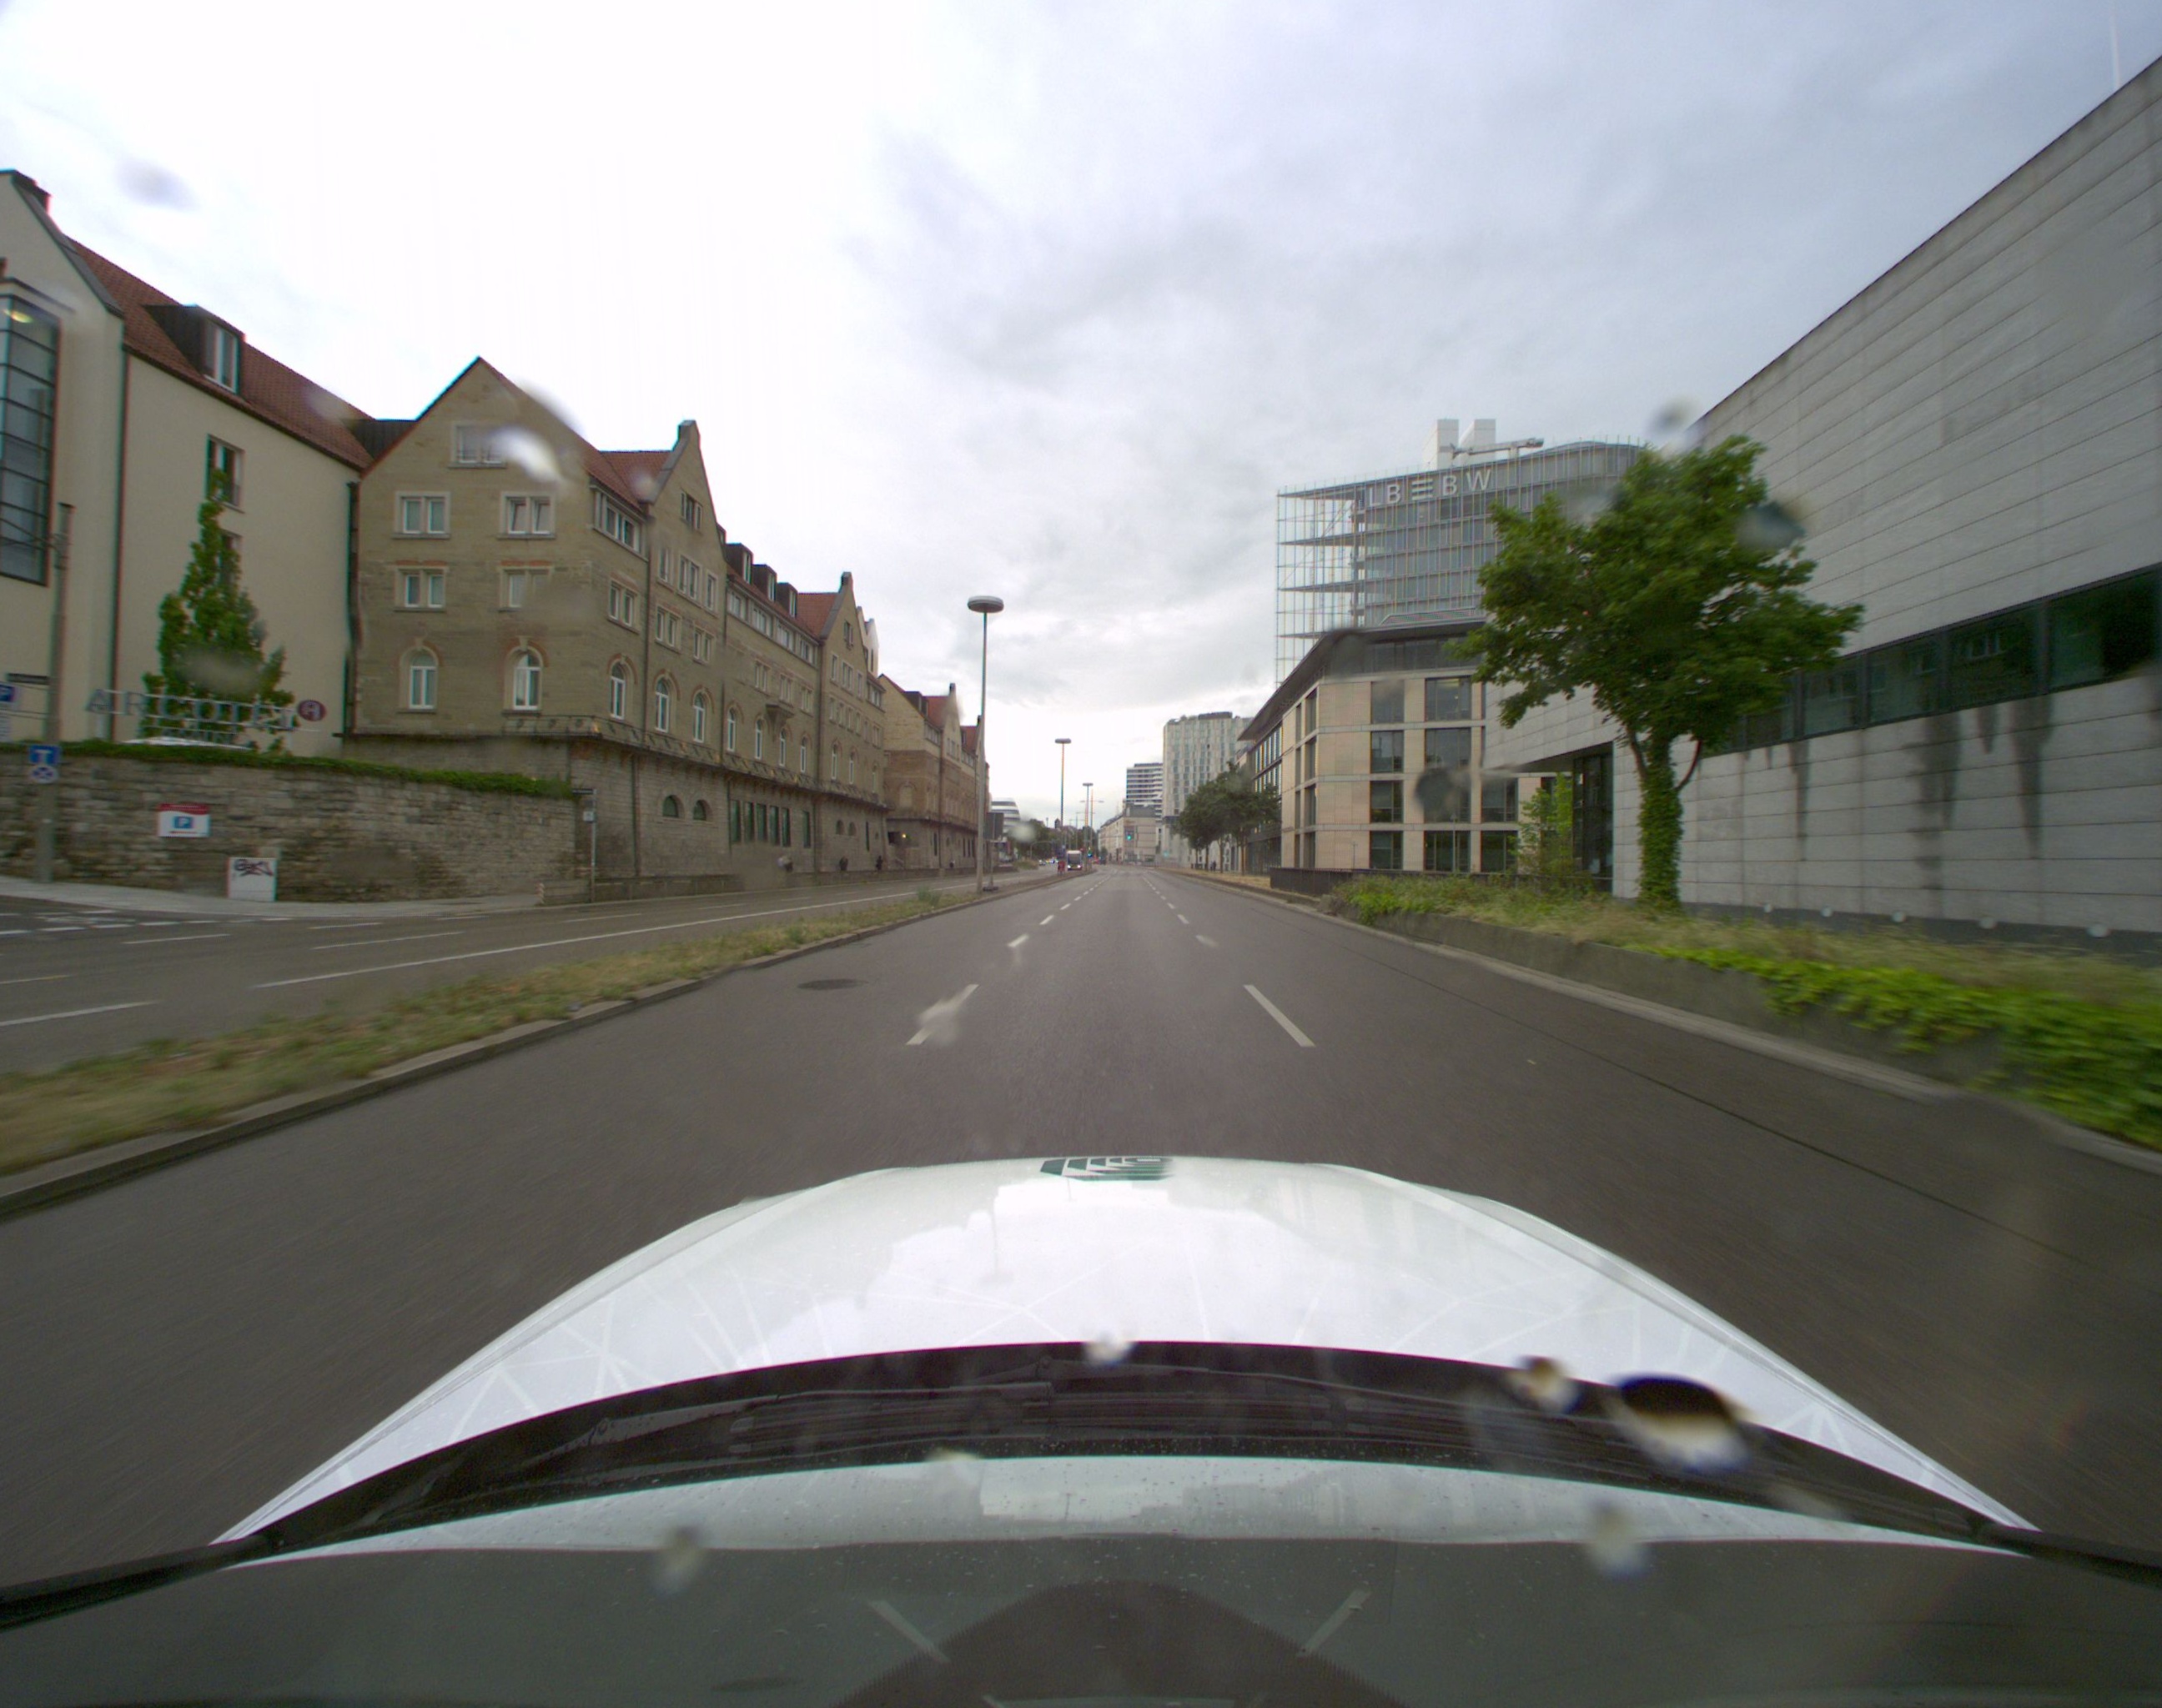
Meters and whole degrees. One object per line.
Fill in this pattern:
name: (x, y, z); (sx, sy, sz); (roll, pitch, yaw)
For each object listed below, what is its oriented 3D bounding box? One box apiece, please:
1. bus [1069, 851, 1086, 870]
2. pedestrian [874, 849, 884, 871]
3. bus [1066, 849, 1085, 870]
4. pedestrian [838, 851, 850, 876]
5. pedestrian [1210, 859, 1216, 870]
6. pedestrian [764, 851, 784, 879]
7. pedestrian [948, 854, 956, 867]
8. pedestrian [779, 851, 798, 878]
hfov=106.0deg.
bus: (-0.677, 1.175, 156.458); (2.687, 3.559, 10.100); (-1, 0, 3)
pedestrian: (-15.769, 0.478, 63.592); (0.638, 1.745, 0.621); (-1, 1, 1)
bus: (-0.921, 1.024, 145.253); (2.687, 3.559, 10.100); (-1, 0, 3)
pedestrian: (-16.450, 0.659, 56.507); (0.638, 1.745, 0.621); (-1, 1, 1)
pedestrian: (19.745, 1.582, 121.845); (0.544, 1.578, 0.675); (0, 1, 37)
pedestrian: (-16.864, 0.593, 44.768); (0.751, 1.477, 0.714); (-1, 1, 2)
pedestrian: (-14.346, 0.710, 90.803); (0.751, 1.477, 0.714); (-1, 1, 2)
pedestrian: (-16.088, 0.563, 44.755); (0.751, 1.477, 0.714); (-1, 1, 2)
